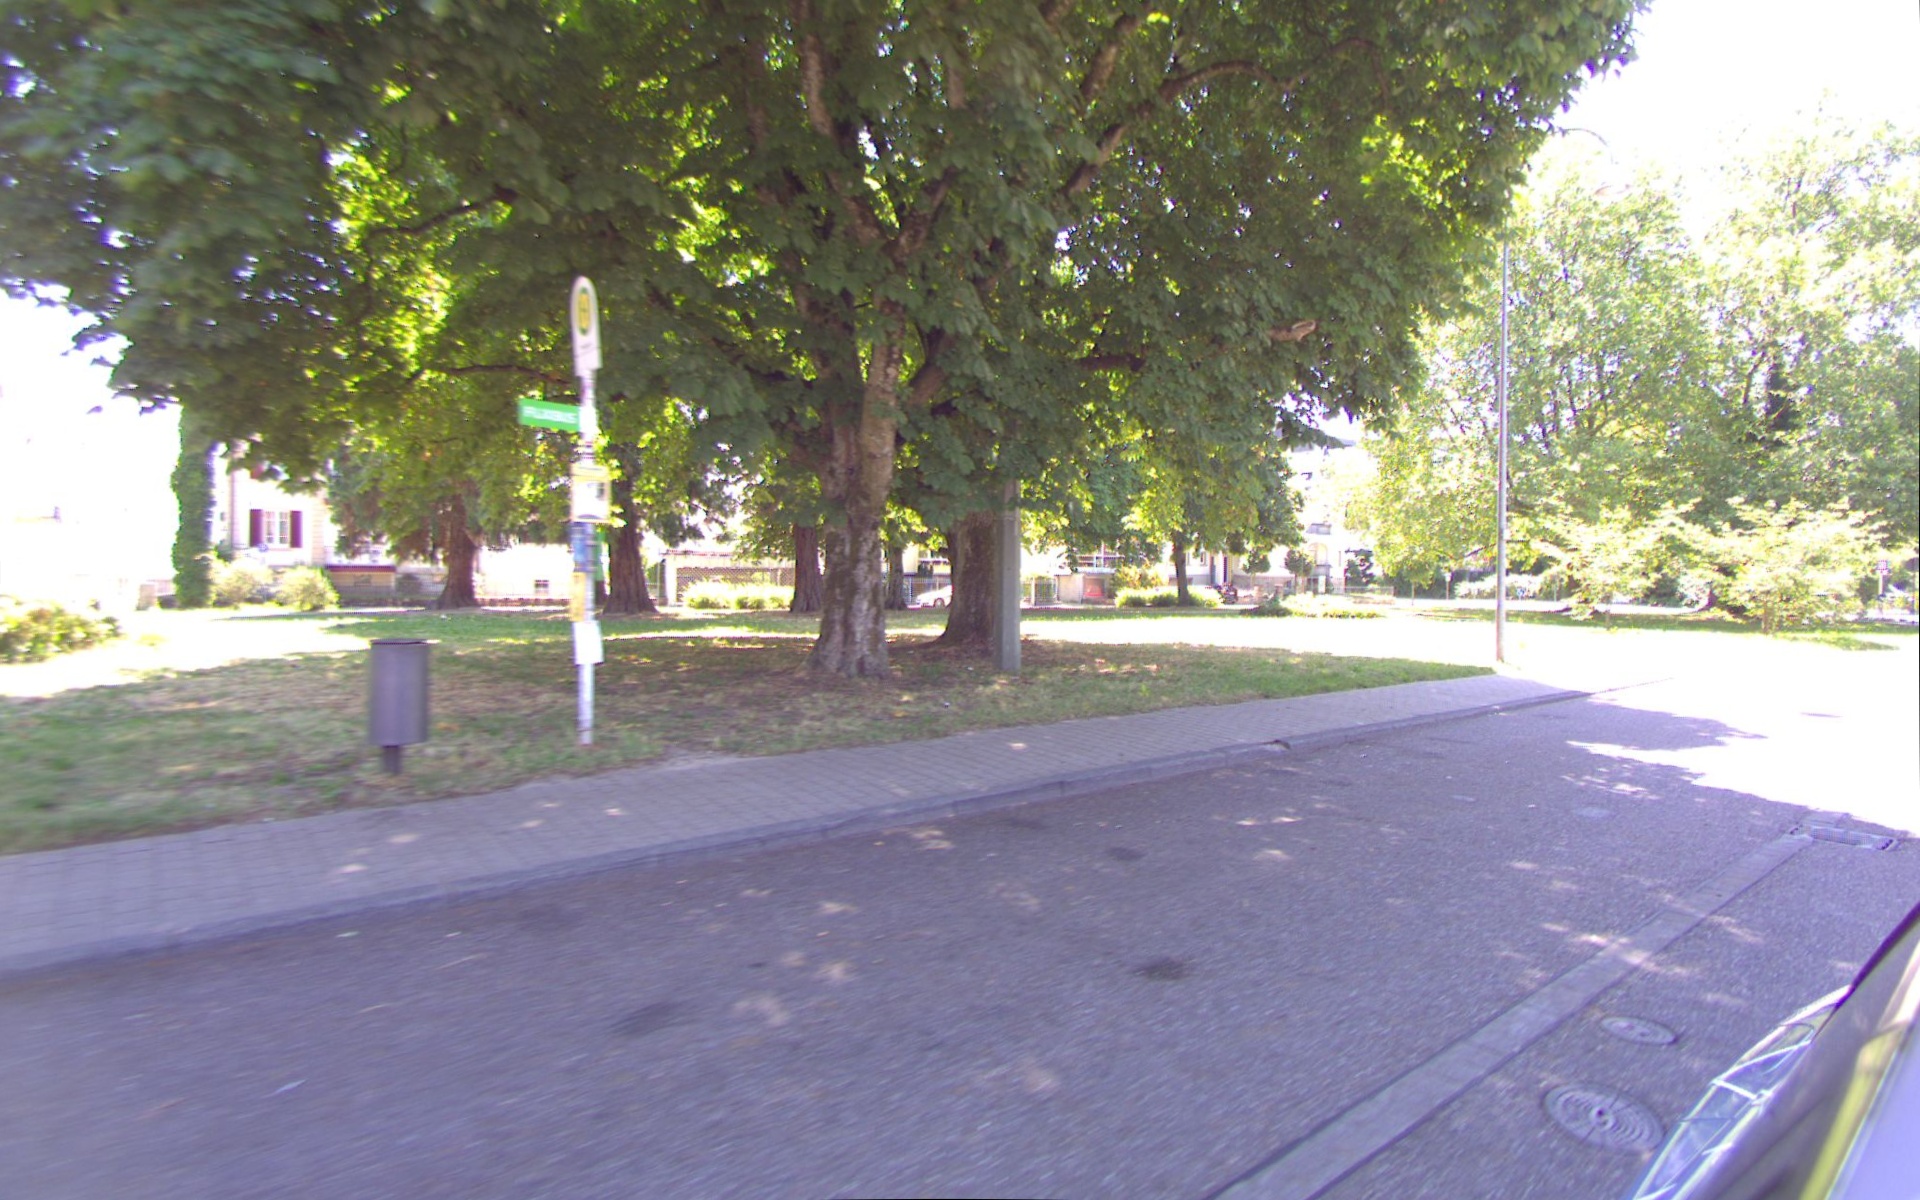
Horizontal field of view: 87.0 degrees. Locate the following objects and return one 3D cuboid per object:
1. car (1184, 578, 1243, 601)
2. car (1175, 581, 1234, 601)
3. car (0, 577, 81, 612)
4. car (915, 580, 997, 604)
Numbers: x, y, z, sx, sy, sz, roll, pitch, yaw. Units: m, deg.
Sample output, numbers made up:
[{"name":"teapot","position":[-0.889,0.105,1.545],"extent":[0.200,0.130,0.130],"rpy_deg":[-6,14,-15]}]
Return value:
[{"name":"car","position":[19.096,-0.821,76.425],"extent":[1.963,1.587,4.000],"rpy_deg":[-2,3,-35]},{"name":"car","position":[17.951,-0.687,74.328],"extent":[1.961,1.409,4.003],"rpy_deg":[0,2,-32]},{"name":"car","position":[-40.761,-0.269,44.442],"extent":[1.436,1.450,3.712],"rpy_deg":[0,2,-7]},{"name":"car","position":[-0.244,-0.471,60.535],"extent":[4.618,1.303,1.674],"rpy_deg":[-1,2,-25]}]
